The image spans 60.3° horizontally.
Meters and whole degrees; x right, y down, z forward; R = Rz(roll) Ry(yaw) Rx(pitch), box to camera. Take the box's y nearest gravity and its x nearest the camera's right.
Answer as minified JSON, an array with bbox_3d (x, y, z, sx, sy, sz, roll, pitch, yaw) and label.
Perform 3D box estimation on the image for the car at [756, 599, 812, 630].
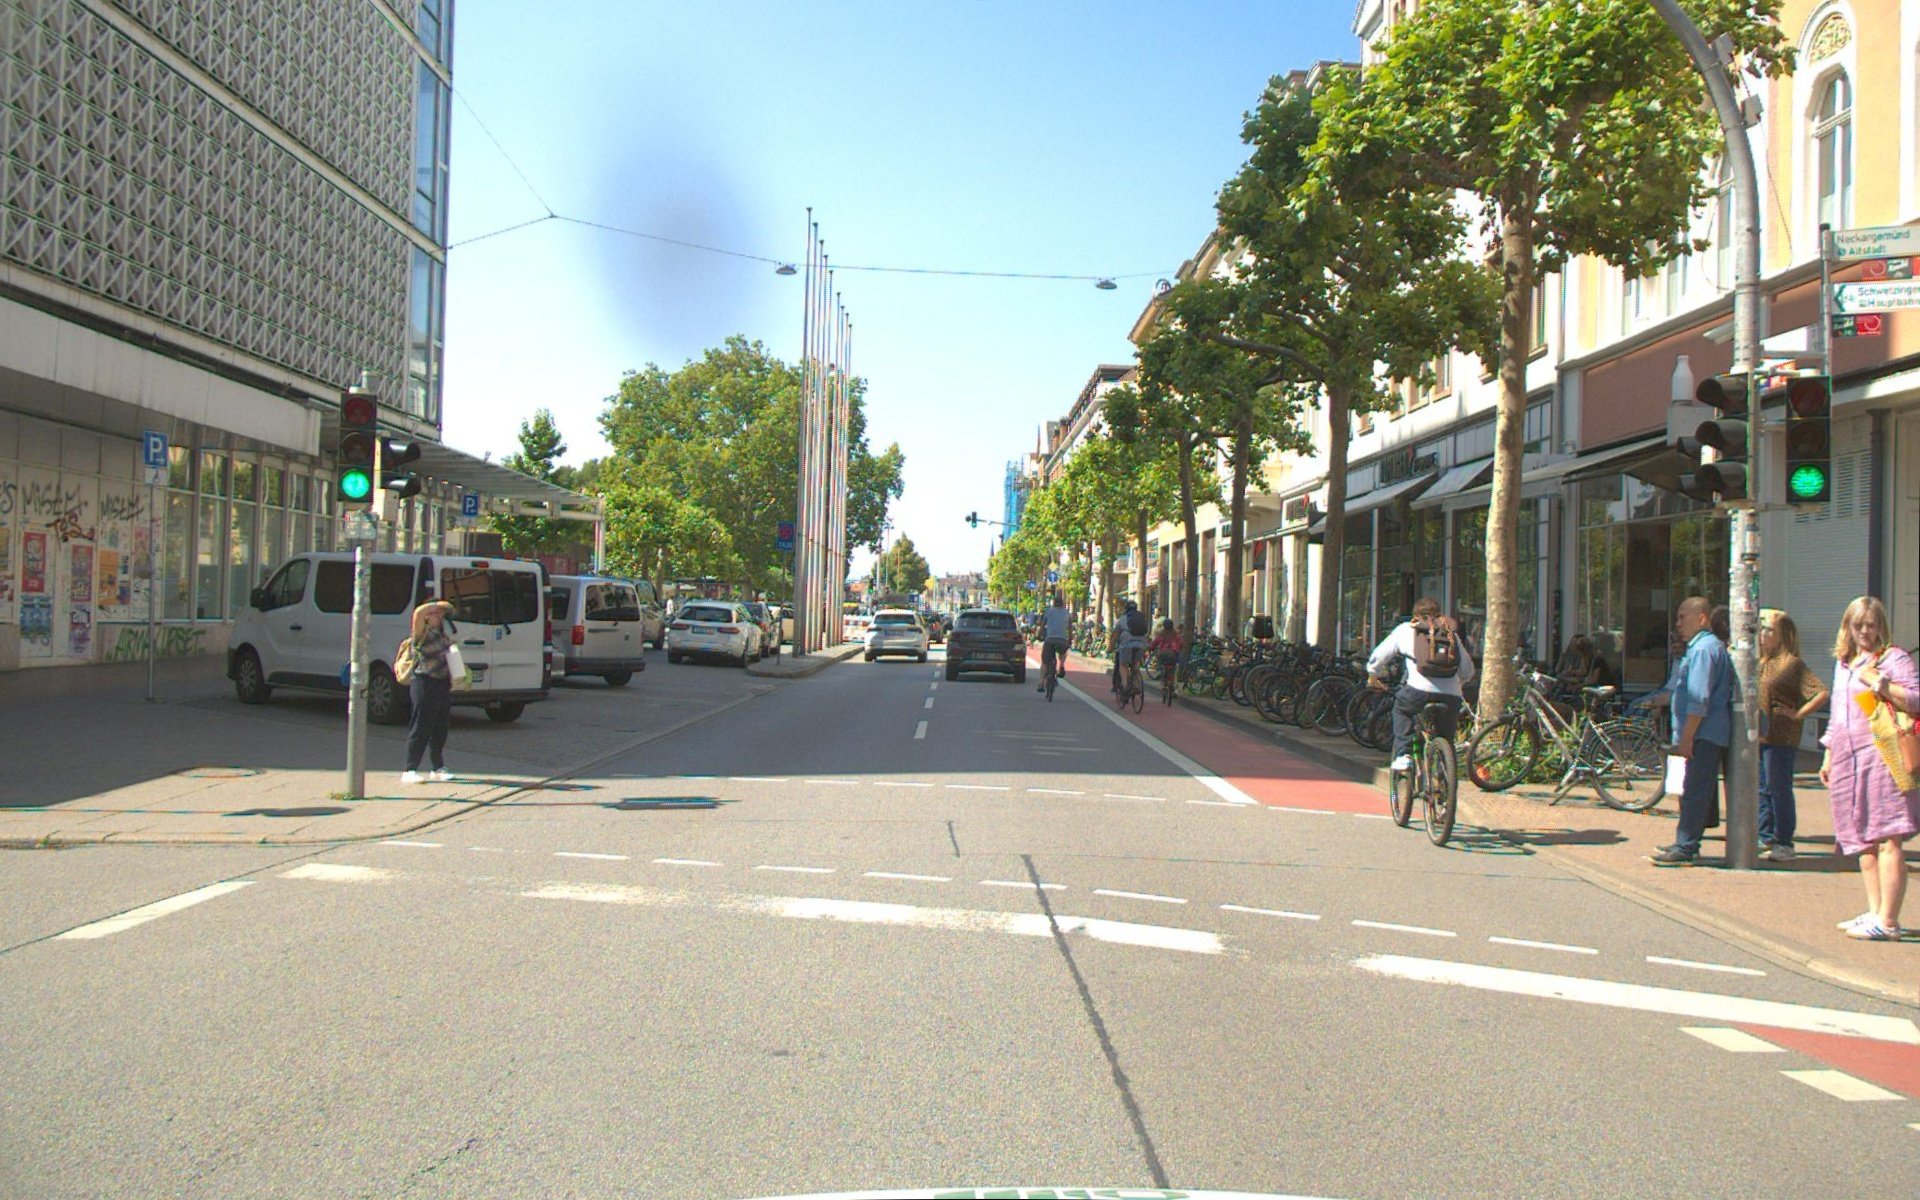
[{"bbox_3d":[-12.013,1.014,113.335,1.821,1.989,4.761,1,-1,20],"label":"car"}]

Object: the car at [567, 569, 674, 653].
[{"bbox_3d":[-8.894,0.287,43.681,1.794,2.049,4.685,2,0,0],"label":"car"}]

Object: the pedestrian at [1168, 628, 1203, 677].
[{"bbox_3d":[5.921,1.375,43.426,0.771,1.265,0.576,2,-2,-3],"label":"pedestrian"}]

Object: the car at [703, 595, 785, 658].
[{"bbox_3d":[-5.956,0.708,46.029,1.725,1.628,4.708,2,0,-1],"label":"car"}]

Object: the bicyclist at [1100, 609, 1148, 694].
[{"bbox_3d":[2.929,0.911,29.574,0.684,1.466,0.790,3,-1,-4],"label":"bicyclist"}]

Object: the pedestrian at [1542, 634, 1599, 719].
[{"bbox_3d":[9.302,1.157,25.212,0.667,1.275,0.531,0,0,-3],"label":"pedestrian"}]

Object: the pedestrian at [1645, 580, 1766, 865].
[{"bbox_3d":[4.963,0.795,11.031,0.443,1.826,0.607,3,0,-3],"label":"pedestrian"}]

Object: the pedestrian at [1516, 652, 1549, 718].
[{"bbox_3d":[8.785,1.306,25.393,0.334,0.985,0.437,2,-1,1],"label":"pedestrian"}]

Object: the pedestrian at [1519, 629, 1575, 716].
[{"bbox_3d":[9.348,1.150,26.354,0.667,1.356,0.531,2,-1,-3],"label":"pedestrian"}]

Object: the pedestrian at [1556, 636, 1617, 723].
[{"bbox_3d":[9.318,1.173,24.614,0.626,1.275,0.608,0,-2,-3],"label":"pedestrian"}]

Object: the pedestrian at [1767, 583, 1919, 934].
[{"bbox_3d":[4.791,0.817,8.694,0.626,1.739,0.789,4,-3,-3],"label":"pedestrian"}]

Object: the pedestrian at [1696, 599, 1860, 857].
[{"bbox_3d":[5.656,0.863,11.467,0.771,1.720,0.641,2,0,-3],"label":"pedestrian"}]

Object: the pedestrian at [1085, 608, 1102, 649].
[{"bbox_3d":[5.359,1.153,66.553,0.602,1.640,0.745,2,-1,1],"label":"pedestrian"}]

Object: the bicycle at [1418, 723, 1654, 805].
[{"bbox_3d":[5.402,1.566,15.634,1.123,0.441,1.842,-10,-5,-26],"label":"bicycle"}]

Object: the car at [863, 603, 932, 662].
[{"bbox_3d":[-1.752,0.911,47.688,1.808,1.587,4.000,1,0,0],"label":"car"}]

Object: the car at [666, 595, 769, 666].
[{"bbox_3d":[-5.827,0.691,40.232,1.762,1.549,4.738,2,0,0],"label":"car"}]

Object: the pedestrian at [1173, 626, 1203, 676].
[{"bbox_3d":[5.894,1.314,42.825,0.626,1.254,0.596,2,-2,-3],"label":"pedestrian"}]

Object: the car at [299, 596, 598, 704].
[{"bbox_3d":[-7.708,0.724,24.858,4.207,1.309,1.966,3,0,31],"label":"car"}]

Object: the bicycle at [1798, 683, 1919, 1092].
[{"bbox_3d":[3.717,0.980,4.884,0.722,1.291,2.267,2,1,-22],"label":"bicycle"}]

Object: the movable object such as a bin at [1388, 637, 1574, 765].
[{"bbox_3d":[5.541,1.054,17.685,1.812,1.209,0.653,3,0,15],"label":"movable object such as a bin"}]

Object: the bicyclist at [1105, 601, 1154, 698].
[{"bbox_3d":[2.726,0.789,26.744,0.617,1.507,1.198,1,-1,-1],"label":"bicyclist"}]

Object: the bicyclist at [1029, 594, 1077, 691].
[{"bbox_3d":[1.629,0.740,29.115,0.758,1.664,0.851,1,-1,0],"label":"bicyclist"}]

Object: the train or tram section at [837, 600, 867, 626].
[{"bbox_3d":[-14.486,1.759,221.974,2.558,3.407,11.006,2,-1,3],"label":"train or tram section"}]

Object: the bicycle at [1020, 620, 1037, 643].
[{"bbox_3d":[3.080,1.396,74.181,0.634,1.015,2.030,1,0,0],"label":"bicycle"}]

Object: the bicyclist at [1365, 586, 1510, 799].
[{"bbox_3d":[3.496,0.661,12.184,0.684,1.471,0.960,3,-1,-4],"label":"bicyclist"}]

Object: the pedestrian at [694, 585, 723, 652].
[{"bbox_3d":[-6.977,0.523,45.843,0.522,1.824,0.536,1,-1,39],"label":"pedestrian"}]

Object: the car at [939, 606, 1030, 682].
[{"bbox_3d":[0.495,0.949,37.062,1.808,1.587,3.998,1,0,-3],"label":"car"}]

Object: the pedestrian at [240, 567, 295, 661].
[{"bbox_3d":[-11.868,0.240,28.352,0.665,1.587,0.640,1,-1,-5],"label":"pedestrian"}]

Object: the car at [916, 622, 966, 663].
[{"bbox_3d":[-0.714,1.587,62.537,1.808,1.474,3.999,1,0,-1],"label":"car"}]

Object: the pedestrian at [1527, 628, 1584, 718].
[{"bbox_3d":[9.272,1.135,25.757,0.667,1.361,0.531,1,-1,-3],"label":"pedestrian"}]

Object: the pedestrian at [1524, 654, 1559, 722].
[{"bbox_3d":[8.688,1.311,24.725,0.357,0.985,0.437,2,-1,1],"label":"pedestrian"}]

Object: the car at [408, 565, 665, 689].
[{"bbox_3d":[-7.384,0.421,28.720,4.358,1.943,2.001,2,0,36],"label":"car"}]

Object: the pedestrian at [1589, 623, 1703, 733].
[{"bbox_3d":[9.291,1.047,22.435,1.208,1.447,0.789,1,-2,-3],"label":"pedestrian"}]

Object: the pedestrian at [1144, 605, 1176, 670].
[{"bbox_3d":[5.451,1.015,45.216,0.626,1.718,0.843,4,0,-3],"label":"pedestrian"}]

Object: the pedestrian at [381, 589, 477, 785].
[{"bbox_3d":[-4.481,0.721,13.991,0.628,1.586,0.679,3,0,-12],"label":"pedestrian"}]

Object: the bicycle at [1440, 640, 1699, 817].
[{"bbox_3d":[5.029,1.022,13.707,1.822,1.209,0.713,5,3,38],"label":"bicycle"}]

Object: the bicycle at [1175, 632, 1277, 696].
[{"bbox_3d":[5.067,1.222,31.527,1.802,1.112,0.564,3,-1,0],"label":"bicycle"}]

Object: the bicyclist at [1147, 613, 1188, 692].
[{"bbox_3d":[3.685,0.929,29.431,0.588,1.381,0.720,1,0,-4],"label":"bicyclist"}]

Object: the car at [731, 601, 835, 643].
[{"bbox_3d":[-7.108,0.876,67.104,1.854,1.568,4.857,2,1,26],"label":"car"}]

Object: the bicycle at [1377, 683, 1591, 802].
[{"bbox_3d":[5.173,1.425,16.435,1.814,0.401,1.024,9,-36,4],"label":"bicycle"}]

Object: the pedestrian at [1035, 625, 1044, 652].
[{"bbox_3d":[4.519,2.180,93.929,0.512,1.548,0.641,0,-1,3],"label":"pedestrian"}]

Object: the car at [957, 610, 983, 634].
[{"bbox_3d":[0.720,1.615,123.708,1.808,1.697,3.999,3,0,-1],"label":"car"}]

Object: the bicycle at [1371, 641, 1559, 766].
[{"bbox_3d":[5.246,1.066,17.241,1.801,1.146,0.346,3,1,15],"label":"bicycle"}]

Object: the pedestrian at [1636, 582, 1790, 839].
[{"bbox_3d":[5.571,0.800,12.273,0.771,1.826,0.641,2,0,-3],"label":"pedestrian"}]

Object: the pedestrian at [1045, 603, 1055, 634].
[{"bbox_3d":[4.977,1.028,91.291,0.537,1.660,0.589,0,-1,3],"label":"pedestrian"}]
